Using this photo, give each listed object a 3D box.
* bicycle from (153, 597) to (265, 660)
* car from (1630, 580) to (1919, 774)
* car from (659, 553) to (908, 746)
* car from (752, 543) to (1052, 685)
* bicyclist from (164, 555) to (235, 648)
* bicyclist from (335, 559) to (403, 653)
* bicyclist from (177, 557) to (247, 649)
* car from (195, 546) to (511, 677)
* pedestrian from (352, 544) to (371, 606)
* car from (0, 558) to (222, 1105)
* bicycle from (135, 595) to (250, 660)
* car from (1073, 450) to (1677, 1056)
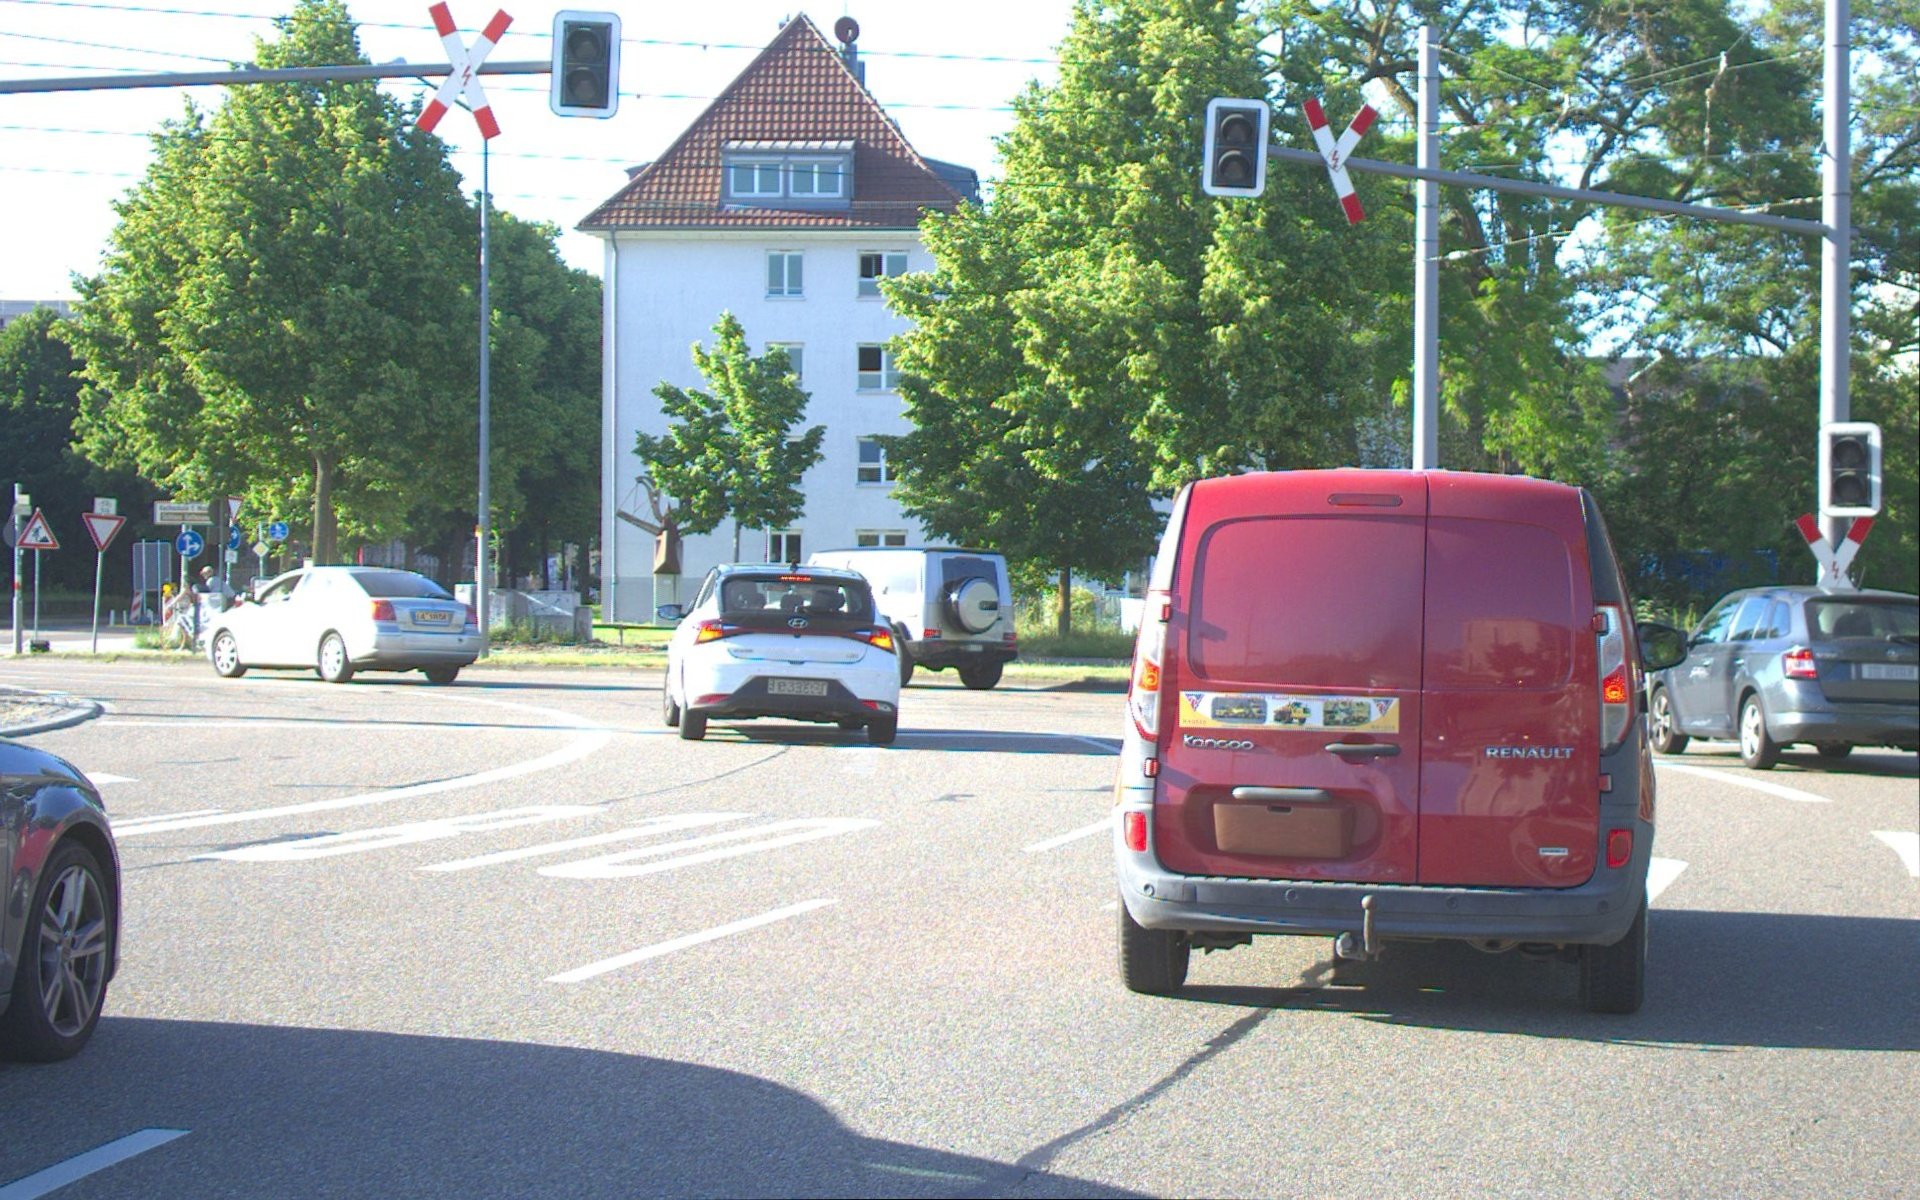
[{"bbox_3d":[-15.530,0.588,71.078,2.206,1.261,0.883,1,-2,29],"label":"bicycle"},{"bbox_3d":[6.886,0.573,28.037,1.713,1.431,4.152,1,1,-5],"label":"car"},{"bbox_3d":[-1.549,0.404,28.940,1.802,1.456,3.810,2,-1,-7],"label":"car"},{"bbox_3d":[-0.885,0.203,48.543,1.997,1.891,4.752,1,-1,-33],"label":"car"},{"bbox_3d":[-15.426,0.029,69.717,1.024,1.846,0.883,1,-2,31],"label":"bicyclist"},{"bbox_3d":[-11.877,0.115,69.092,1.023,1.846,0.811,1,-2,18],"label":"bicyclist"},{"bbox_3d":[-15.468,0.063,71.063,1.024,1.846,0.883,1,-2,31],"label":"bicyclist"},{"bbox_3d":[-7.819,0.119,44.013,1.994,1.570,4.406,0,1,-41],"label":"car"},{"bbox_3d":[-19.359,-0.816,111.210,0.470,2.007,0.454,1,0,11],"label":"pedestrian"},{"bbox_3d":[-3.437,0.591,8.110,1.761,1.375,4.357,1,1,11],"label":"car"},{"bbox_3d":[-15.574,0.552,69.769,2.206,1.261,0.883,1,-2,29],"label":"bicycle"},{"bbox_3d":[1.609,0.429,12.590,1.803,1.807,3.808,2,1,10],"label":"car"}]
